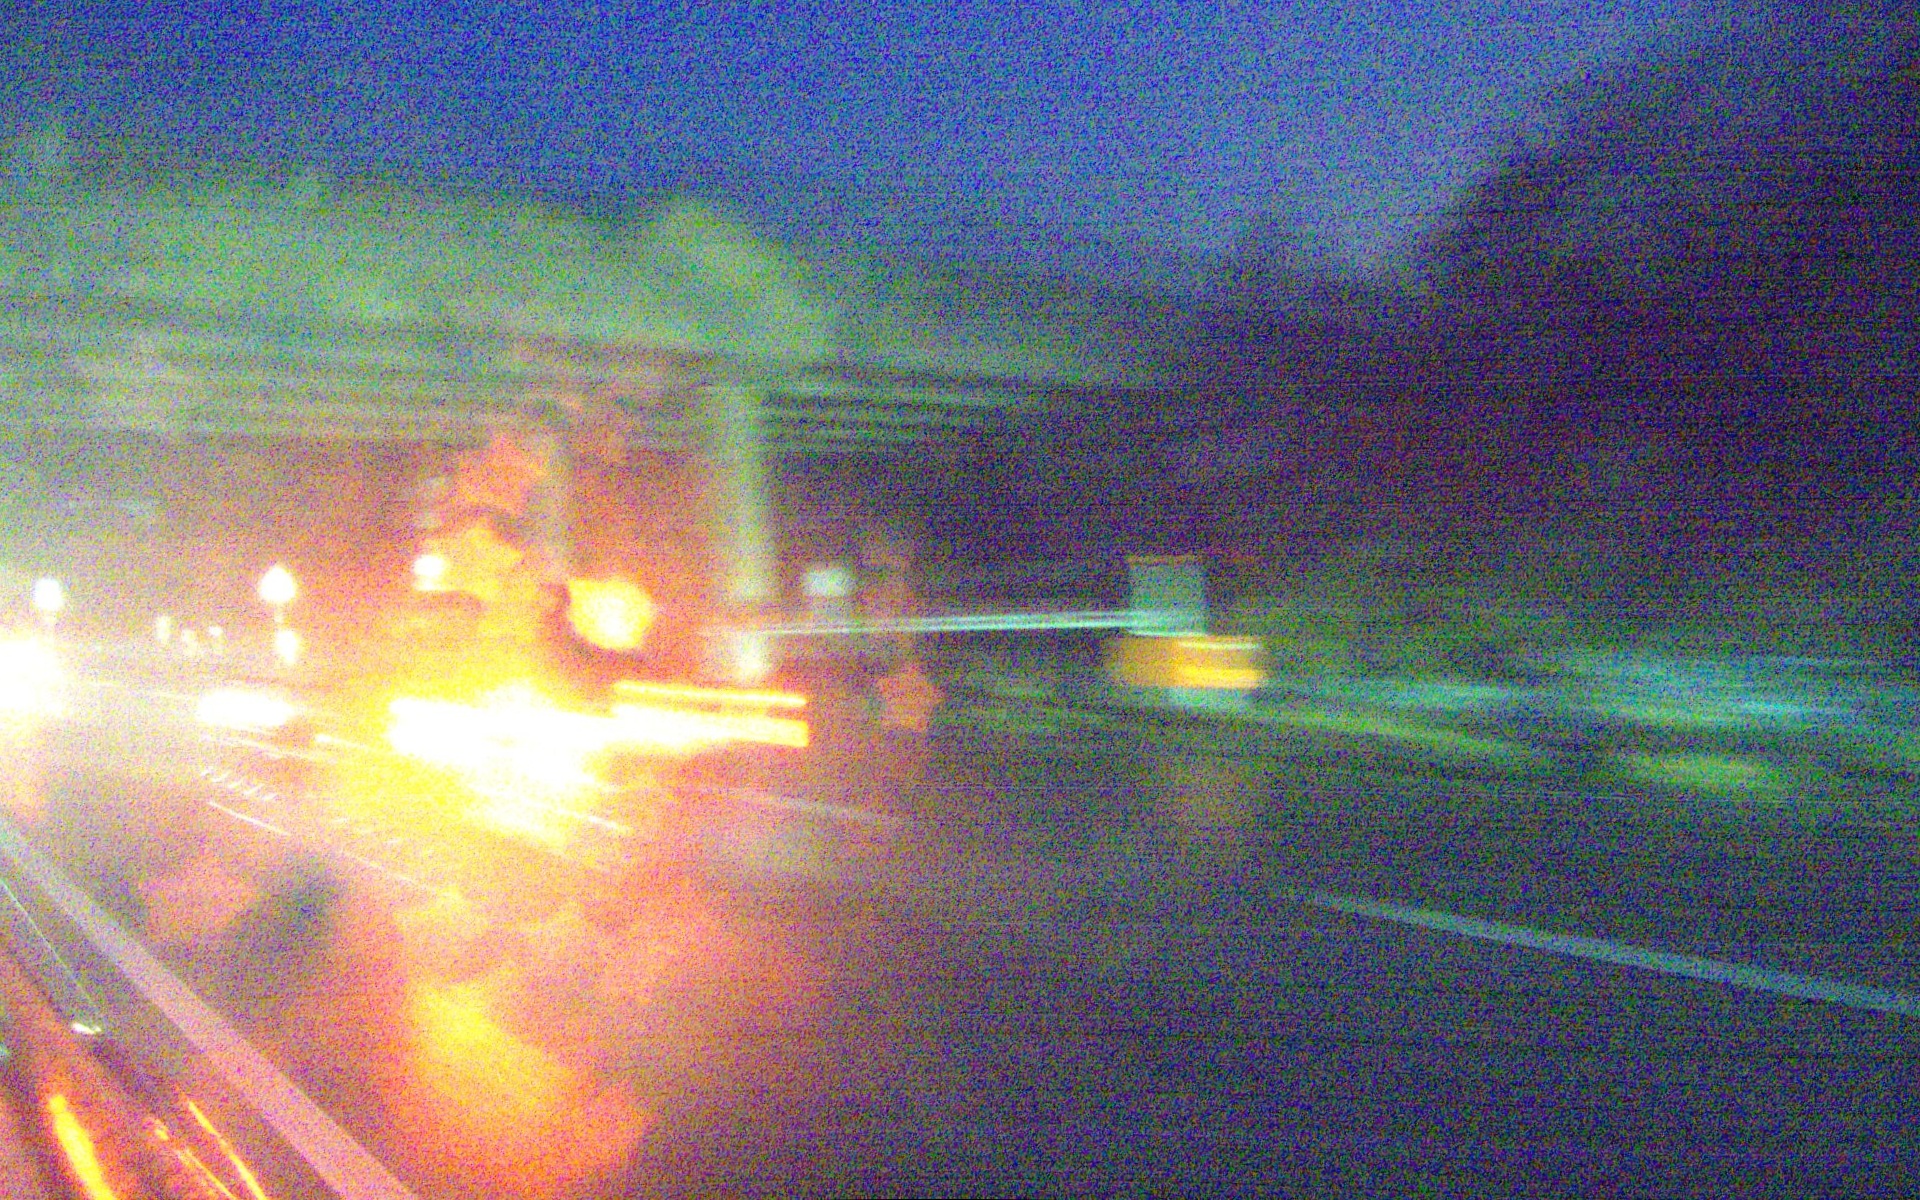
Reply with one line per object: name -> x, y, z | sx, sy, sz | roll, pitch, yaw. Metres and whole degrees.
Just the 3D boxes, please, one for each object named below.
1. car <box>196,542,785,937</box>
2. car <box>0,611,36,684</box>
car -> -3.104, 0.609, 6.322 | 3.996, 1.704, 1.773 | -1, 1, 40
car -> -23.742, 1.150, 24.276 | 3.789, 1.657, 1.880 | -1, 1, 41
